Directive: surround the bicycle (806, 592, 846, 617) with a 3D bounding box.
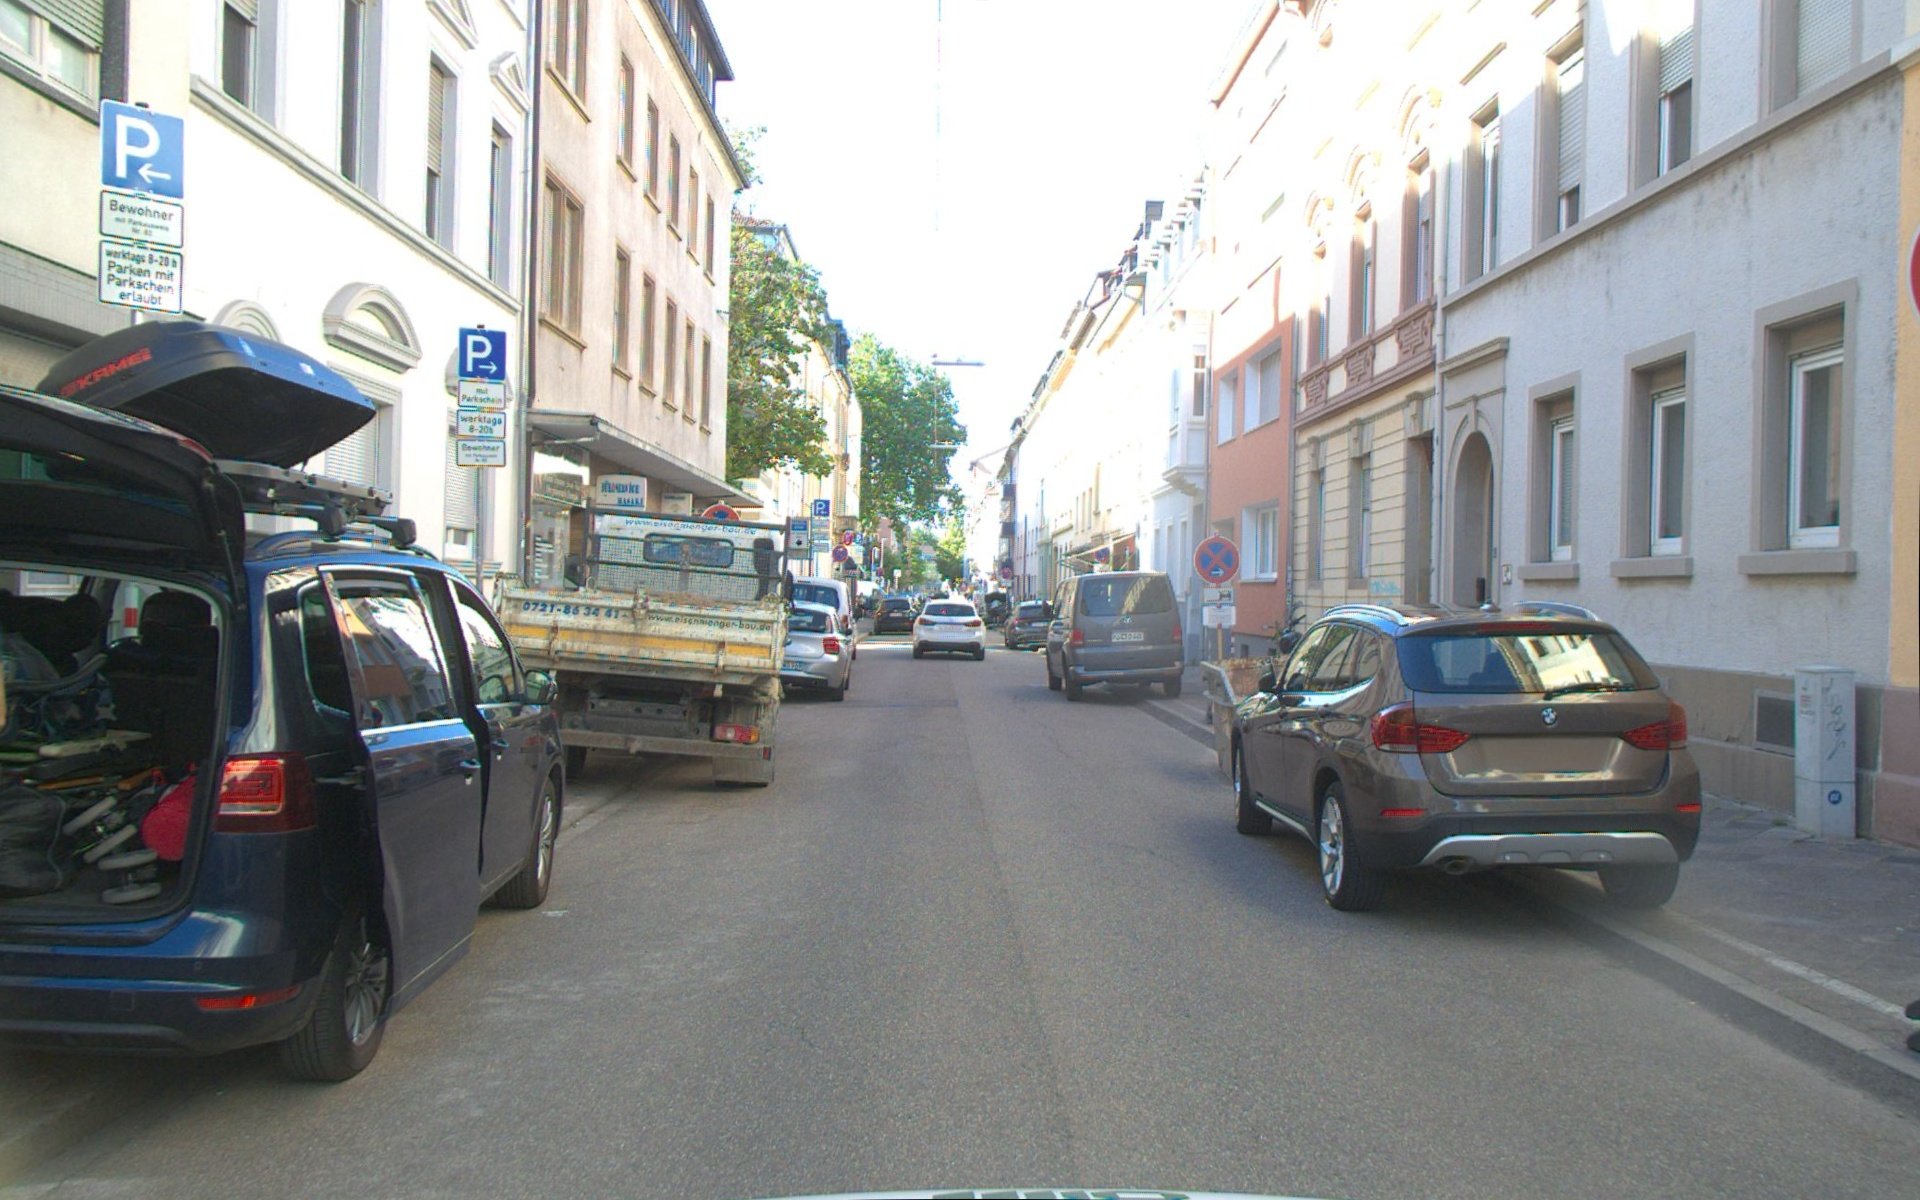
[{"bbox_3d":[-6.534,0.220,80.860,1.933,1.134,0.506,2,0,-36],"label":"bicycle"}]

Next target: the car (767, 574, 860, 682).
[{"bbox_3d":[-2.757,0.493,31.770,1.614,1.900,3.997,1,0,-3],"label":"car"}]

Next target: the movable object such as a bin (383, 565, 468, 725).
[{"bbox_3d":[-5.315,0.440,16.470,0.626,1.559,0.587,1,0,-1],"label":"movable object such as a bin"}]

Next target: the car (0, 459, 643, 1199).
[{"bbox_3d":[-2.902,0.513,6.336,2.392,1.735,5.241,2,0,-1],"label":"car"}]

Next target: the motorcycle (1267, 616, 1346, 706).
[{"bbox_3d":[5.200,0.885,24.962,0.584,1.207,2.760,-3,0,1],"label":"motorcycle"}]

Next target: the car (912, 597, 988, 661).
[{"bbox_3d":[-0.237,0.687,42.017,1.796,1.512,4.057,1,0,0],"label":"car"}]

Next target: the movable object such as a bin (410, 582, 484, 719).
[{"bbox_3d":[-5.303,0.514,17.109,0.550,1.383,0.632,1,0,-1],"label":"movable object such as a bin"}]

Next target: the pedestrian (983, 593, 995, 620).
[{"bbox_3d":[1.596,0.366,91.425,0.614,1.490,0.575,1,-1,-1],"label":"pedestrian"}]

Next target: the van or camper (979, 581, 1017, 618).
[{"bbox_3d":[2.034,-0.013,89.874,1.953,1.959,3.999,1,-1,-1],"label":"van or camper"}]

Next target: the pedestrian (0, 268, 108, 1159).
[{"bbox_3d":[-2.746,0.294,4.355,0.606,2.268,0.688,1,-1,-1],"label":"pedestrian"}]

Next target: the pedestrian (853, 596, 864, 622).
[{"bbox_3d":[-5.834,0.512,95.238,0.614,1.490,0.575,1,-1,-1],"label":"pedestrian"}]

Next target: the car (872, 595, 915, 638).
[{"bbox_3d":[-2.672,0.647,67.016,1.592,1.625,3.580,2,0,-1],"label":"car"}]

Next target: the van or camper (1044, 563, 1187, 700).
[{"bbox_3d":[2.504,0.481,27.653,1.740,2.072,4.567,-1,0,-3],"label":"van or camper"}]

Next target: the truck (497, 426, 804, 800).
[{"bbox_3d":[-2.486,0.142,14.881,2.115,2.635,6.242,1,-1,-5],"label":"truck"}]

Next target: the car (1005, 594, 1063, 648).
[{"bbox_3d":[2.301,0.644,52.131,1.613,1.604,3.678,1,0,-1],"label":"car"}]

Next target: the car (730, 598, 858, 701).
[{"bbox_3d":[-2.533,0.715,26.019,1.723,1.440,3.998,-1,0,-2],"label":"car"}]

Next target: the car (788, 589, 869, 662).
[{"bbox_3d":[-3.028,0.566,38.698,1.613,1.604,3.678,1,0,-1],"label":"car"}]

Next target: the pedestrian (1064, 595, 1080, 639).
[{"bbox_3d":[4.443,0.682,65.700,0.517,1.757,0.490,0,-1,14],"label":"pedestrian"}]

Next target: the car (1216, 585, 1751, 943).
[{"bbox_3d":[2.762,0.741,9.843,1.704,1.604,4.377,1,1,-1],"label":"car"}]
